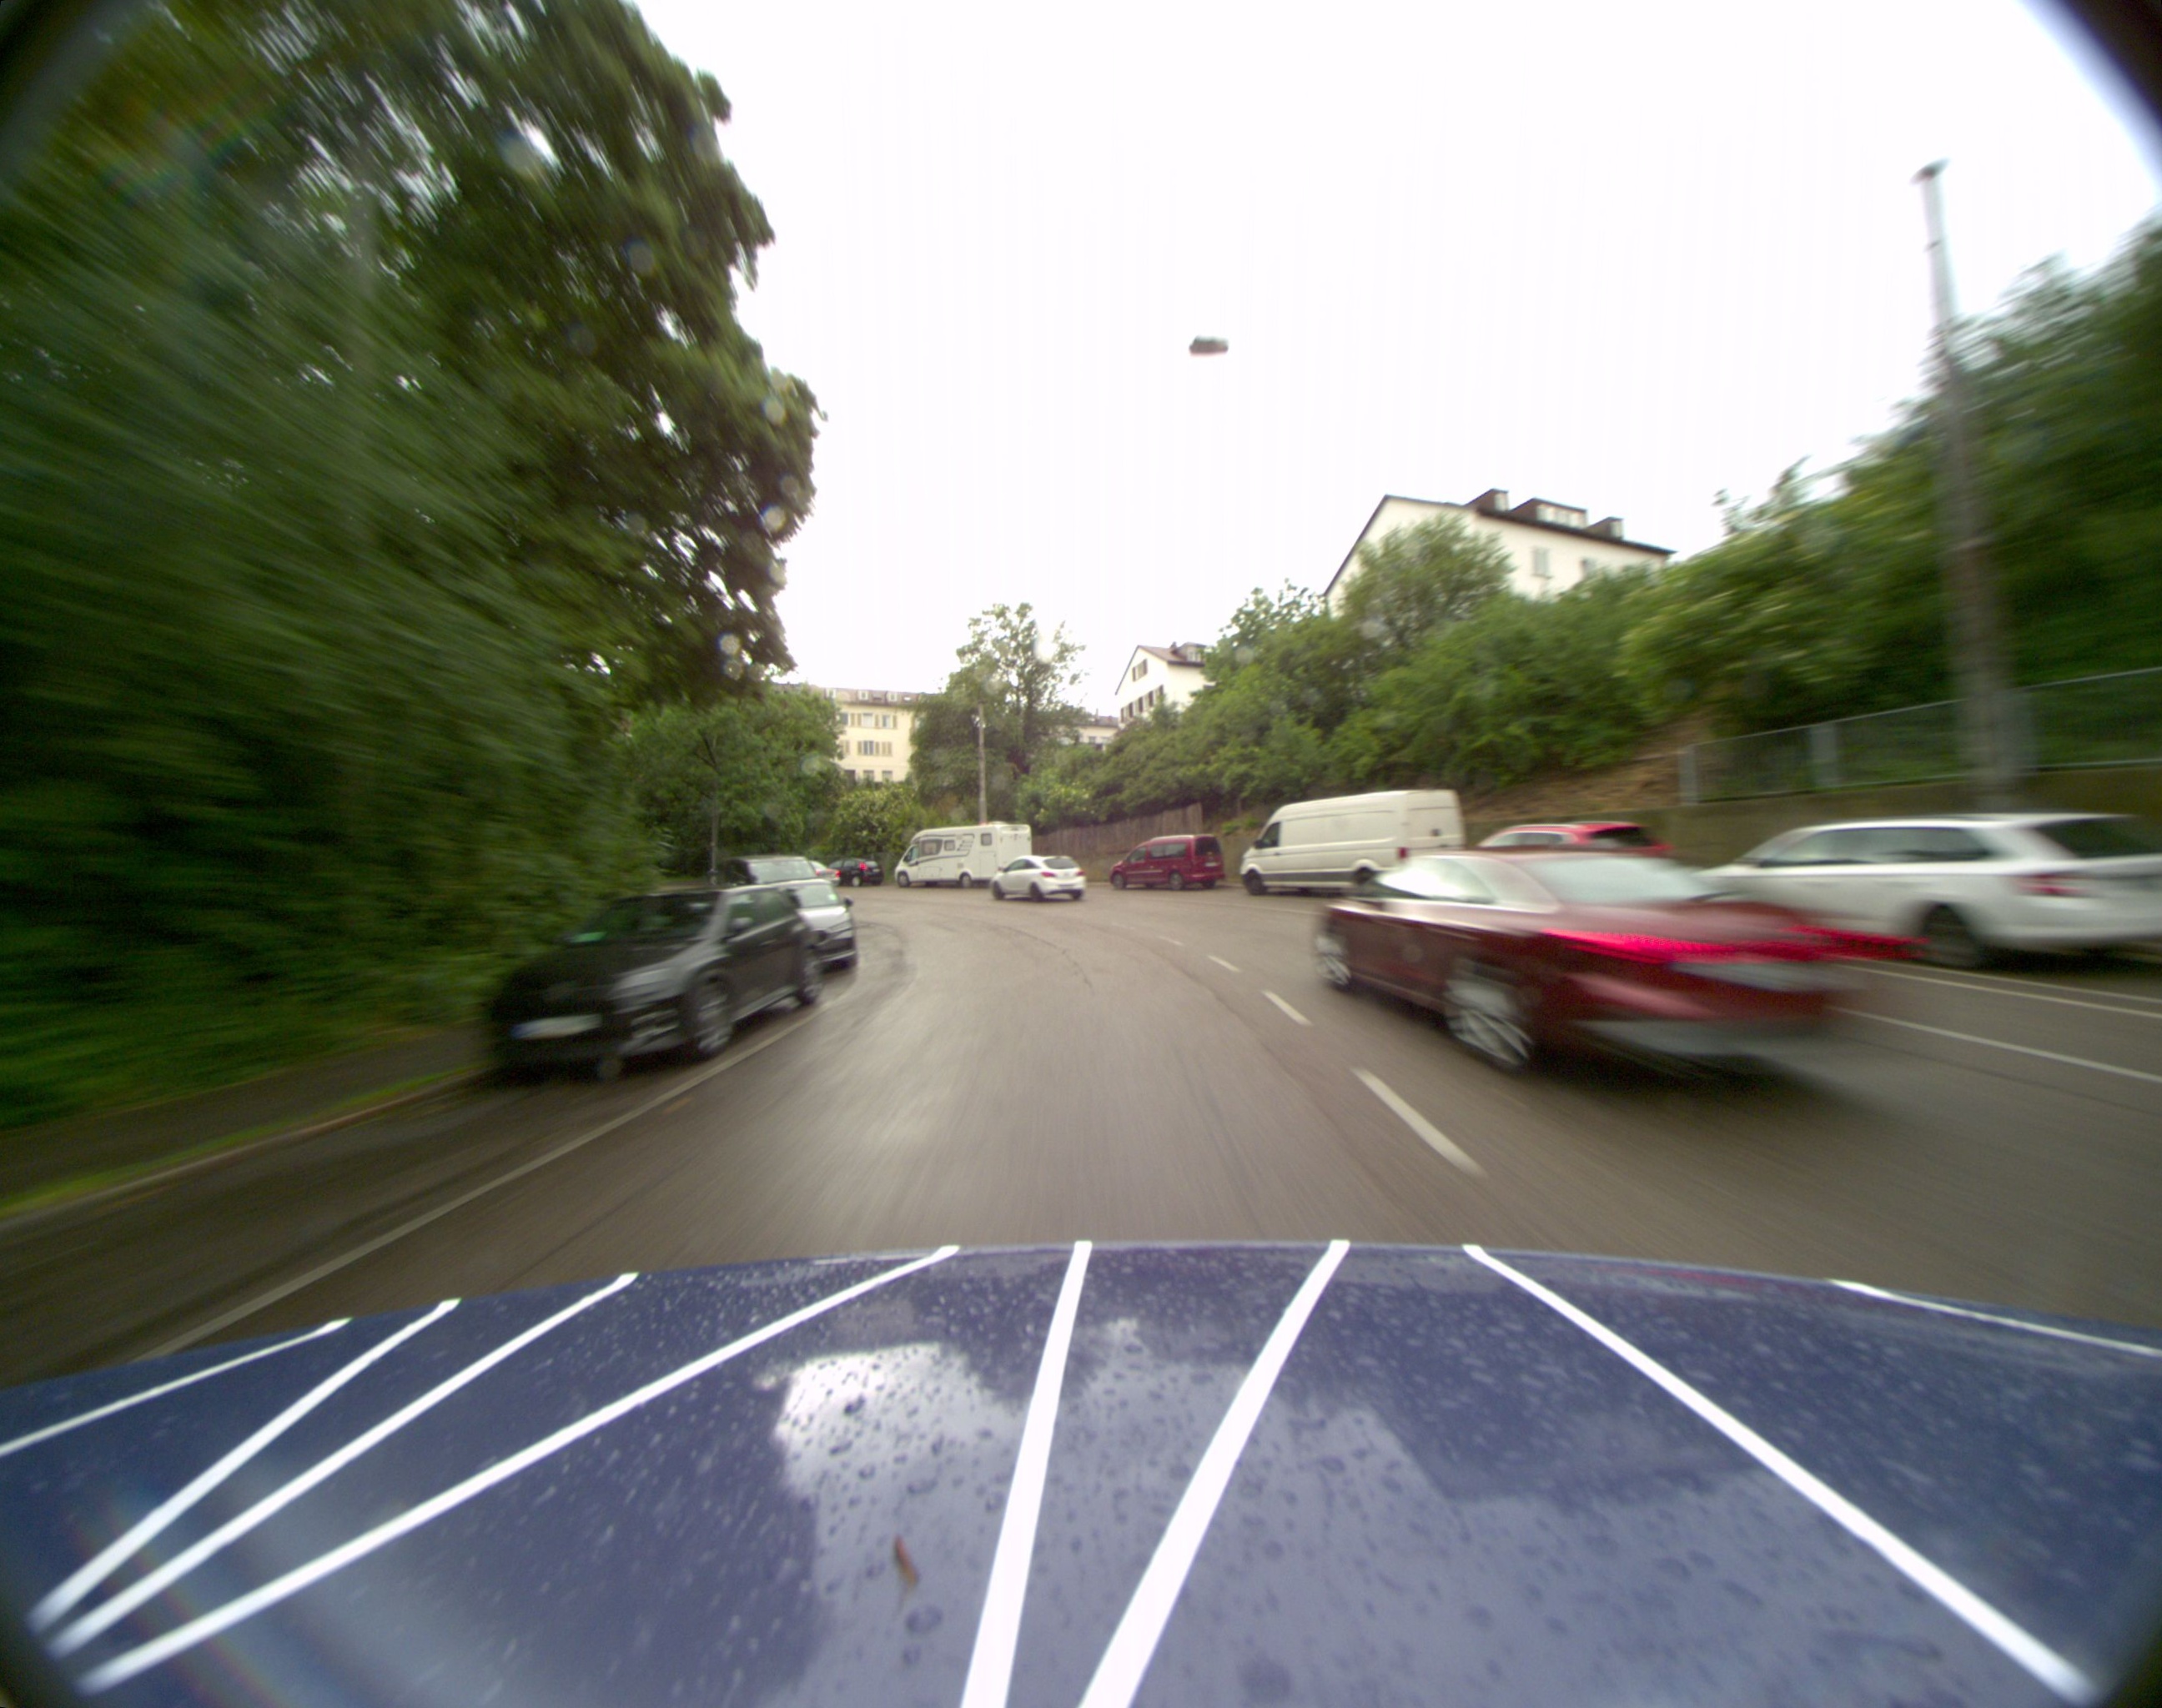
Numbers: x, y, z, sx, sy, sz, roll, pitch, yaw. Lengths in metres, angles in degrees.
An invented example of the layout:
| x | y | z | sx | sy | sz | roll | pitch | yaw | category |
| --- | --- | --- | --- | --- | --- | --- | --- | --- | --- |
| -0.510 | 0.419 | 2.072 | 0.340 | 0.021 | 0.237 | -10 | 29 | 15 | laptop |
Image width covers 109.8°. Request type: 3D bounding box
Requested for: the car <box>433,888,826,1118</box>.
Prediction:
| x | y | z | sx | sy | sz | roll | pitch | yaw | category |
| --- | --- | --- | --- | --- | --- | --- | --- | --- | --- |
| -4.057 | 1.214 | 7.650 | 1.631 | 1.479 | 3.744 | -4 | 0 | 0 | car |

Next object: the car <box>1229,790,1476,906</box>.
| x | y | z | sx | sy | sz | roll | pitch | yaw | category |
| --- | --- | --- | --- | --- | --- | --- | --- | --- | --- |
| 6.759 | -0.120 | 20.176 | 2.043 | 2.516 | 6.810 | -3 | 1 | -22 | car |

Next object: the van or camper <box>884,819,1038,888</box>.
| x | y | z | sx | sy | sz | roll | pitch | yaw | category |
| --- | --- | --- | --- | --- | --- | --- | --- | --- | --- |
| -5.774 | 0.004 | 35.795 | 7.505 | 2.950 | 2.463 | -1 | 1 | 35 | van or camper |

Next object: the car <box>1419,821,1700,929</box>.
| x | y | z | sx | sy | sz | roll | pitch | yaw | category |
| --- | --- | --- | --- | --- | --- | --- | --- | --- | --- |
| 8.408 | 0.314 | 13.942 | 1.781 | 1.576 | 4.428 | -3 | 1 | -11 | car |

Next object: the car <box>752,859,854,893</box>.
| x | y | z | sx | sy | sz | roll | pitch | yaw | category |
| --- | --- | --- | --- | --- | --- | --- | --- | --- | --- |
| -12.256 | 0.931 | 33.445 | 4.327 | 1.377 | 1.794 | 0 | 1 | 29 | car |

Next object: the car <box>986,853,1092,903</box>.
| x | y | z | sx | sy | sz | roll | pitch | yaw | category |
| --- | --- | --- | --- | --- | --- | --- | --- | --- | --- |
| -1.470 | 0.757 | 25.111 | 1.610 | 1.487 | 4.023 | -2 | 1 | -35 | car |

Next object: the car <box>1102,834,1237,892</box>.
| x | y | z | sx | sy | sz | roll | pitch | yaw | category |
| --- | --- | --- | --- | --- | --- | --- | --- | --- | --- |
| 3.127 | 0.318 | 27.691 | 2.003 | 1.865 | 4.809 | -3 | 1 | -38 | car |

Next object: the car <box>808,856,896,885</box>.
| x | y | z | sx | sy | sz | roll | pitch | yaw | category |
| --- | --- | --- | --- | --- | --- | --- | --- | --- | --- |
| -11.813 | 0.835 | 39.182 | 4.122 | 1.403 | 1.918 | -1 | -1 | 25 | car |

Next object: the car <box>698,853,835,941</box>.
| x | y | z | sx | sy | sz | roll | pitch | yaw | category |
| --- | --- | --- | --- | --- | --- | --- | --- | --- | --- |
| -8.289 | 0.980 | 19.719 | 2.003 | 1.876 | 5.023 | -4 | 2 | -36 | car |

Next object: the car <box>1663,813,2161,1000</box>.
| x | y | z | sx | sy | sz | roll | pitch | yaw | category |
| --- | --- | --- | --- | --- | --- | --- | --- | --- | --- |
| 9.020 | 0.416 | 8.420 | 1.742 | 1.470 | 4.197 | -4 | 0 | -2 | car |

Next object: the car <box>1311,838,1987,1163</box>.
| x | y | z | sx | sy | sz | roll | pitch | yaw | category |
| --- | --- | --- | --- | --- | --- | --- | --- | --- | --- |
| 3.460 | 0.710 | 5.950 | 1.872 | 1.508 | 4.483 | -2 | 0 | -1 | car |

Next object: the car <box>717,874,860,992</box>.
| x | y | z | sx | sy | sz | roll | pitch | yaw | category |
| --- | --- | --- | --- | --- | --- | --- | --- | --- | --- |
| -5.164 | 1.217 | 13.678 | 1.909 | 1.479 | 4.866 | -4 | 1 | -19 | car |

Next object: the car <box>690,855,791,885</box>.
| x | y | z | sx | sy | sz | roll | pitch | yaw | category |
| --- | --- | --- | --- | --- | --- | --- | --- | --- | --- |
| -17.516 | 0.790 | 39.129 | 4.364 | 1.455 | 2.002 | 1 | 1 | 11 | car |
